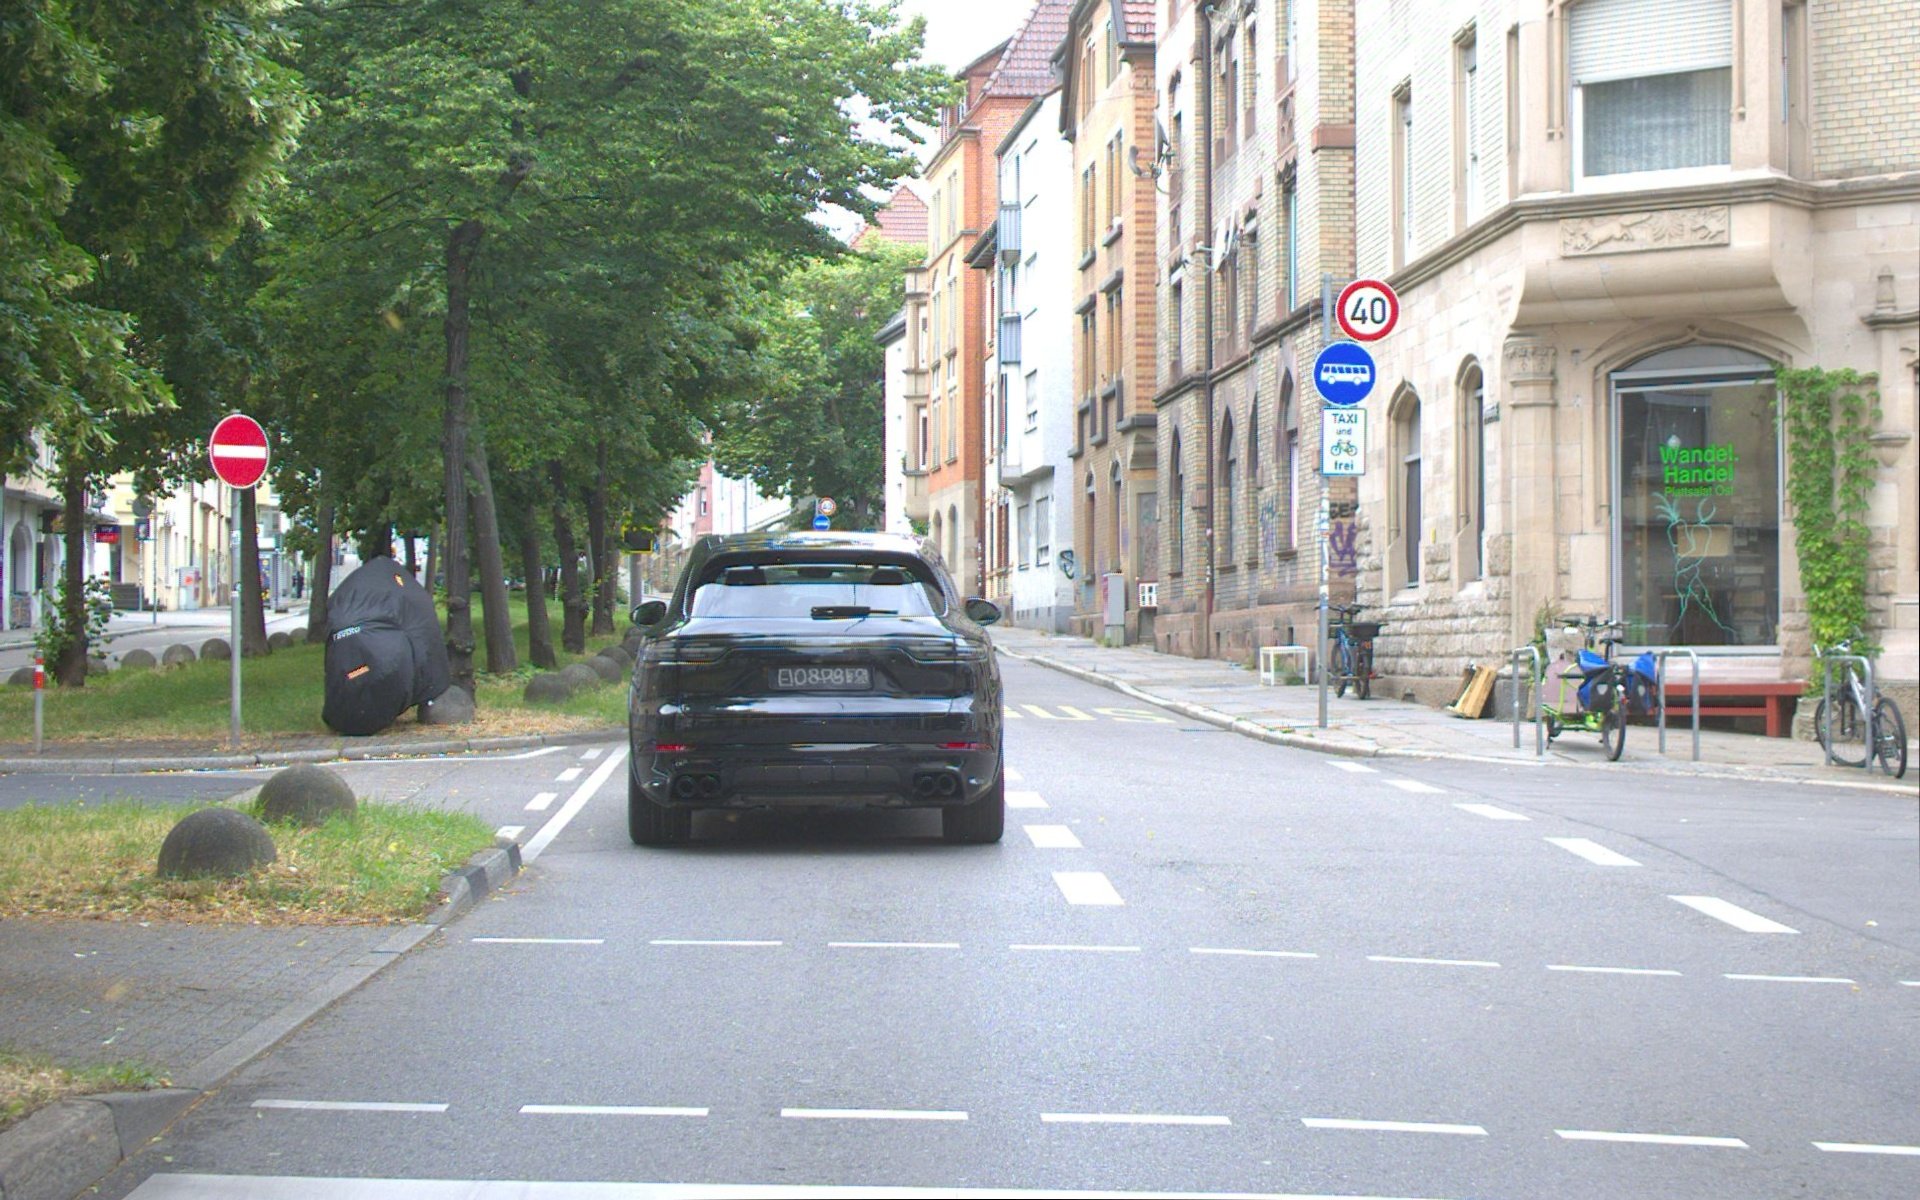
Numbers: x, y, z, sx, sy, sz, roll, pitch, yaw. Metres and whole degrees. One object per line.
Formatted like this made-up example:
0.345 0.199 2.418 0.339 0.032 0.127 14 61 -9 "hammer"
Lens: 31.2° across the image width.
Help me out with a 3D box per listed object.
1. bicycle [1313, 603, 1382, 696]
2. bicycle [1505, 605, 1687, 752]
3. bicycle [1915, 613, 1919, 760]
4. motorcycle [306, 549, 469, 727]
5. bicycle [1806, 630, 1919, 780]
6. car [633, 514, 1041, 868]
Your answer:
4.420 0.559 39.311 0.446 1.033 2.248 0 0 -2 "bicycle"
5.215 0.615 28.398 0.879 1.125 2.979 1 0 -1 "bicycle"
7.850 0.767 26.389 0.446 1.157 1.835 -1 6 -2 "bicycle"
-4.858 0.305 29.339 1.019 1.441 2.247 -1 0 -1 "motorcycle"
7.059 0.799 26.806 0.349 1.055 1.834 3 1 -2 "bicycle"
-0.748 0.409 19.198 1.993 1.660 4.001 2 2 -4 "car"
